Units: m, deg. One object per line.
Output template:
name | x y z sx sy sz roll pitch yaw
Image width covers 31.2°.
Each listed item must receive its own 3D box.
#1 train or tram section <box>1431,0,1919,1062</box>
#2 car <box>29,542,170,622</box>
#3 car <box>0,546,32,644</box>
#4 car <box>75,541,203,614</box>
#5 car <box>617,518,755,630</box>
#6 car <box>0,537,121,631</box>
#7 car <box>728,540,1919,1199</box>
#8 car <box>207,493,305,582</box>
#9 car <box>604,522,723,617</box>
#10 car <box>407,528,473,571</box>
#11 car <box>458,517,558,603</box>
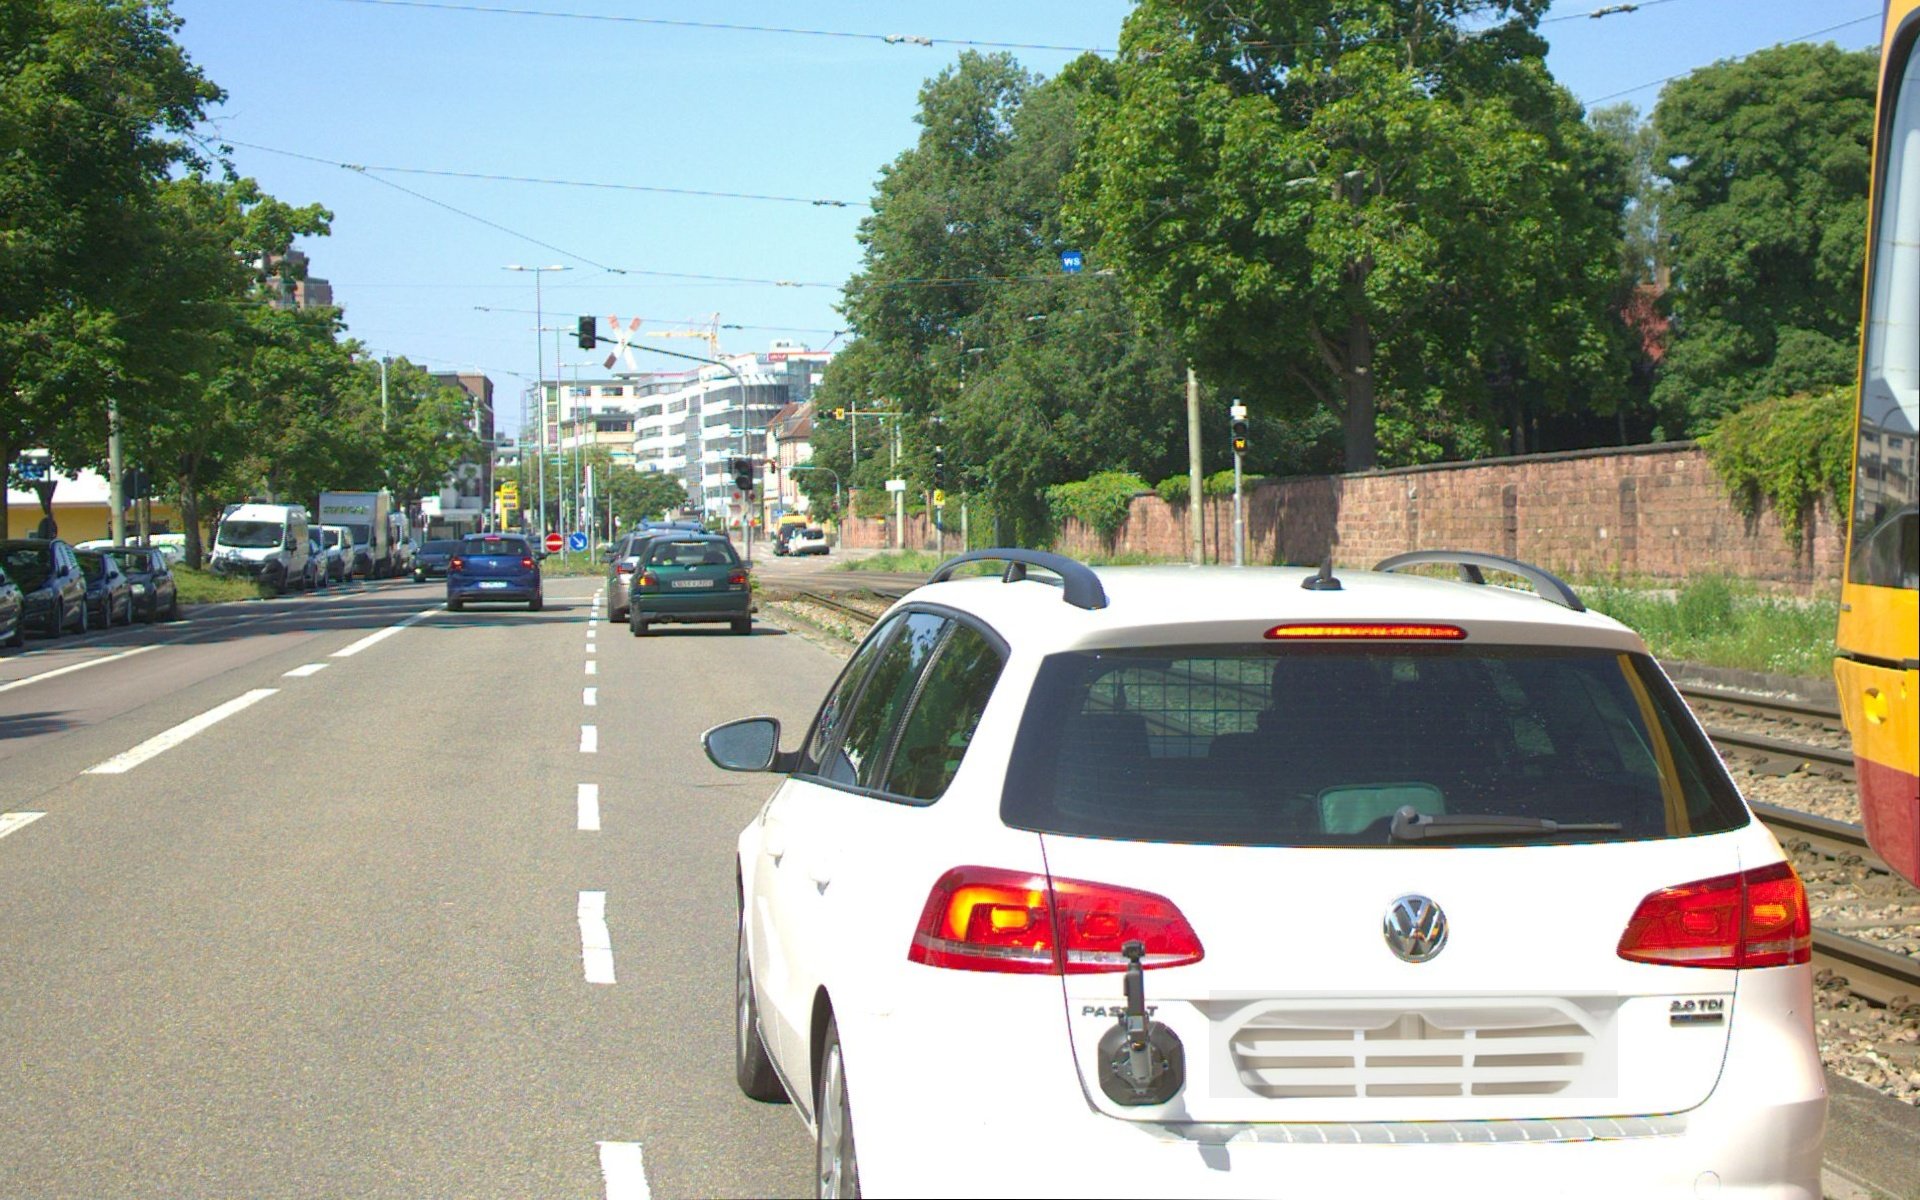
train or tram section | 3.963 -0.622 7.577 2.511 3.734 13.314 -1 1 -7
car | -15.638 -0.355 62.645 1.699 1.347 4.001 -1 1 -3
car | -14.804 -0.053 49.963 1.699 1.412 4.001 -1 1 -3
car | -16.189 -0.468 67.942 1.699 1.347 4.001 -1 1 -3
car | -3.923 -0.401 48.786 1.800 1.502 4.001 0 2 -7
car | -15.271 -0.291 57.341 1.699 1.477 4.001 -1 1 -3
car | 0.475 0.620 7.661 1.691 1.446 4.460 -1 2 -7
car | -19.749 -1.773 96.667 1.880 2.407 5.117 -1 1 -3
car | -4.850 -0.528 55.816 1.800 1.455 4.001 0 2 -7
car | -16.234 -1.585 107.514 1.699 1.268 4.001 -1 1 -4
car | -8.478 -0.784 64.686 1.800 1.502 4.001 0 2 -7
